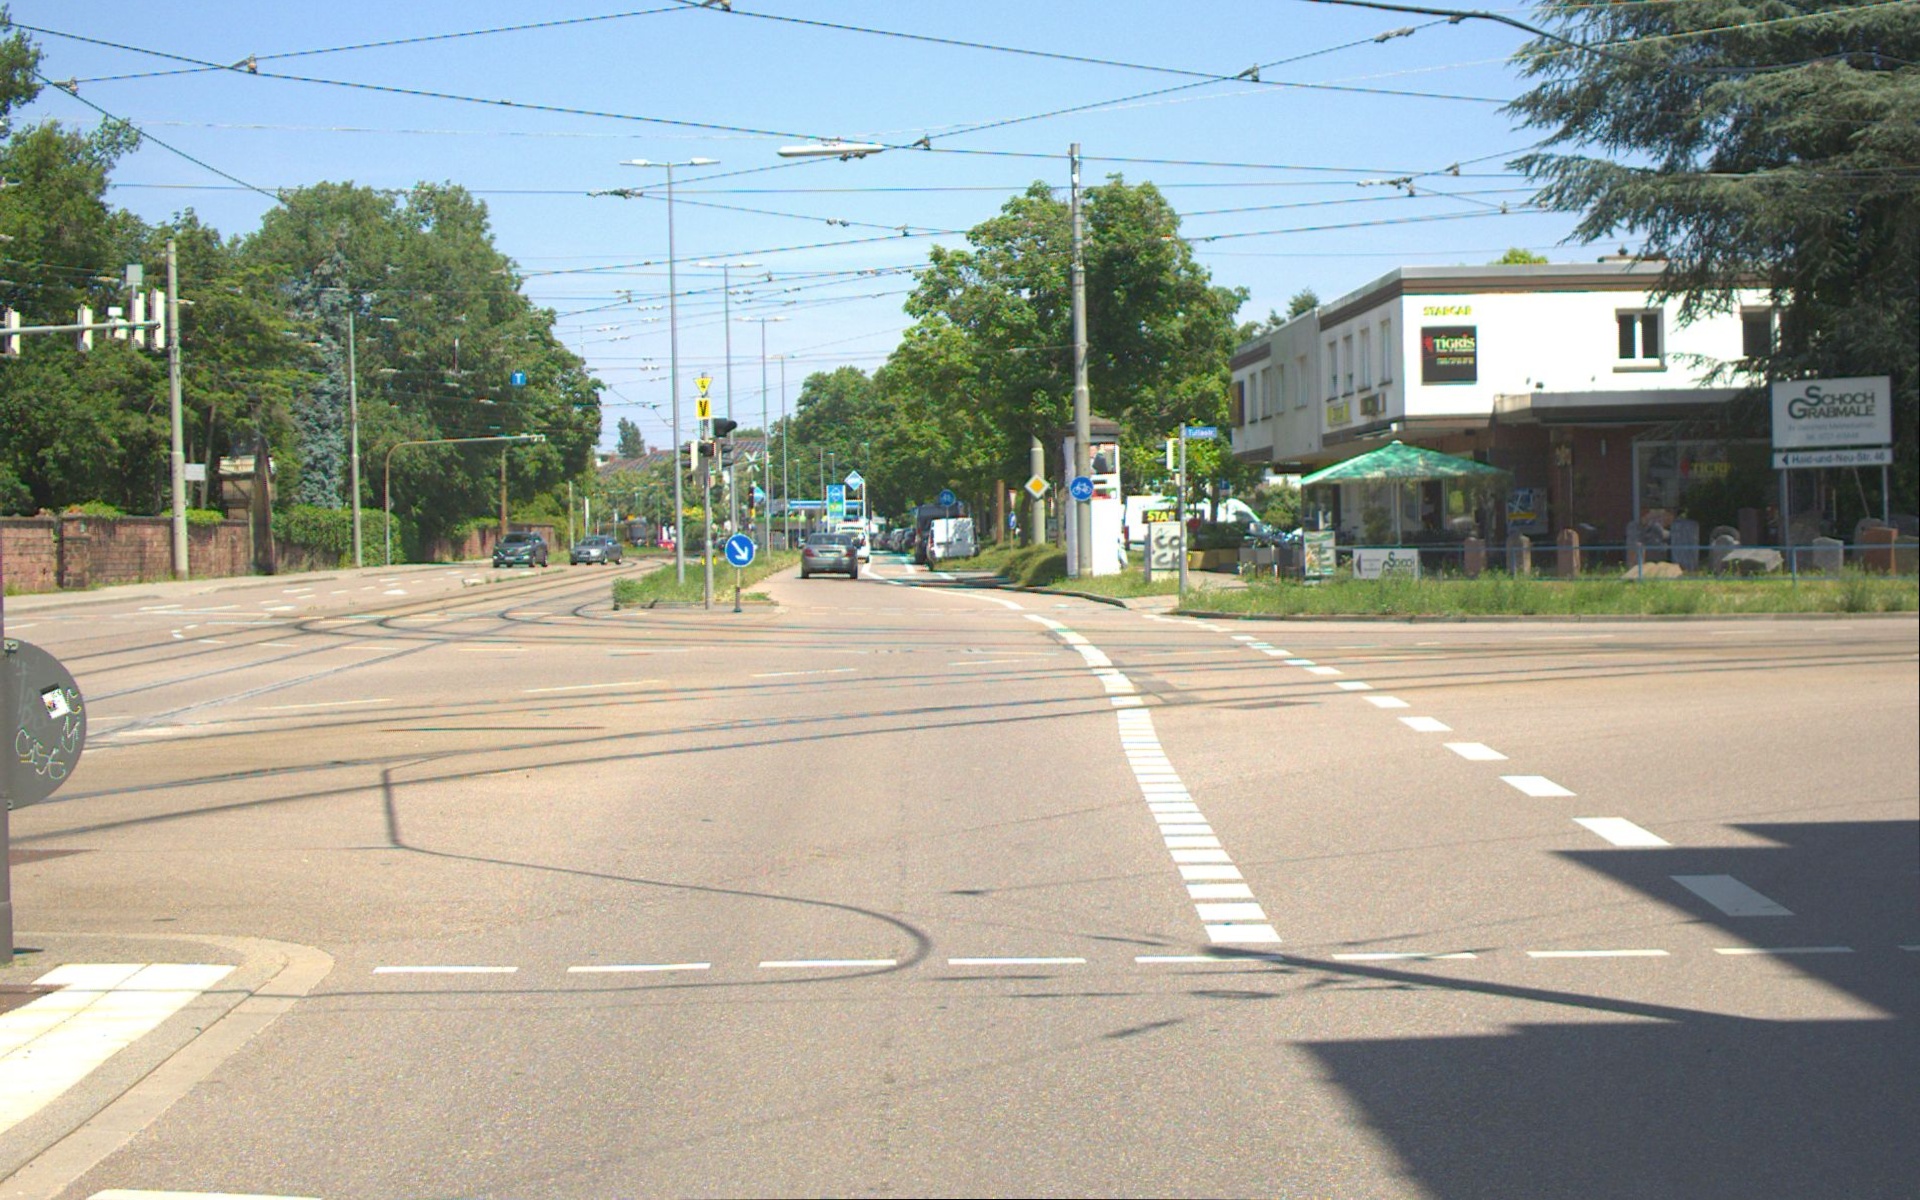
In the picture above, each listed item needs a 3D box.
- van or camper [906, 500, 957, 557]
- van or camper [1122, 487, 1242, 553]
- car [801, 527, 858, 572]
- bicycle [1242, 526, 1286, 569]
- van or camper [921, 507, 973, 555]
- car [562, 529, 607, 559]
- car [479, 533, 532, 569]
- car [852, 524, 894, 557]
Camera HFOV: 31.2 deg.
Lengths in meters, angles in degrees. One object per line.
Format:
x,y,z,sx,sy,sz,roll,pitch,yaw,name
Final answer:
-1.263,-3.185,152.832,1.993,2.456,4.001,-1,1,-4,van or camper
9.242,-3.348,143.385,4.756,2.662,2.136,-1,1,-3,van or camper
-4.108,-1.599,107.961,1.636,1.346,3.843,-1,1,-4,car
7.470,-1.299,84.498,1.034,1.011,2.636,-1,1,6,bicycle
-0.502,-2.623,130.240,1.922,1.766,4.000,-1,1,-1,van or camper
-18.330,-2.747,167.762,1.641,1.416,4.168,-1,1,1,car
-20.719,-2.234,156.818,1.820,1.598,4.520,-1,1,0,car
-3.872,-2.654,152.810,1.670,1.430,3.474,-1,1,2,car
